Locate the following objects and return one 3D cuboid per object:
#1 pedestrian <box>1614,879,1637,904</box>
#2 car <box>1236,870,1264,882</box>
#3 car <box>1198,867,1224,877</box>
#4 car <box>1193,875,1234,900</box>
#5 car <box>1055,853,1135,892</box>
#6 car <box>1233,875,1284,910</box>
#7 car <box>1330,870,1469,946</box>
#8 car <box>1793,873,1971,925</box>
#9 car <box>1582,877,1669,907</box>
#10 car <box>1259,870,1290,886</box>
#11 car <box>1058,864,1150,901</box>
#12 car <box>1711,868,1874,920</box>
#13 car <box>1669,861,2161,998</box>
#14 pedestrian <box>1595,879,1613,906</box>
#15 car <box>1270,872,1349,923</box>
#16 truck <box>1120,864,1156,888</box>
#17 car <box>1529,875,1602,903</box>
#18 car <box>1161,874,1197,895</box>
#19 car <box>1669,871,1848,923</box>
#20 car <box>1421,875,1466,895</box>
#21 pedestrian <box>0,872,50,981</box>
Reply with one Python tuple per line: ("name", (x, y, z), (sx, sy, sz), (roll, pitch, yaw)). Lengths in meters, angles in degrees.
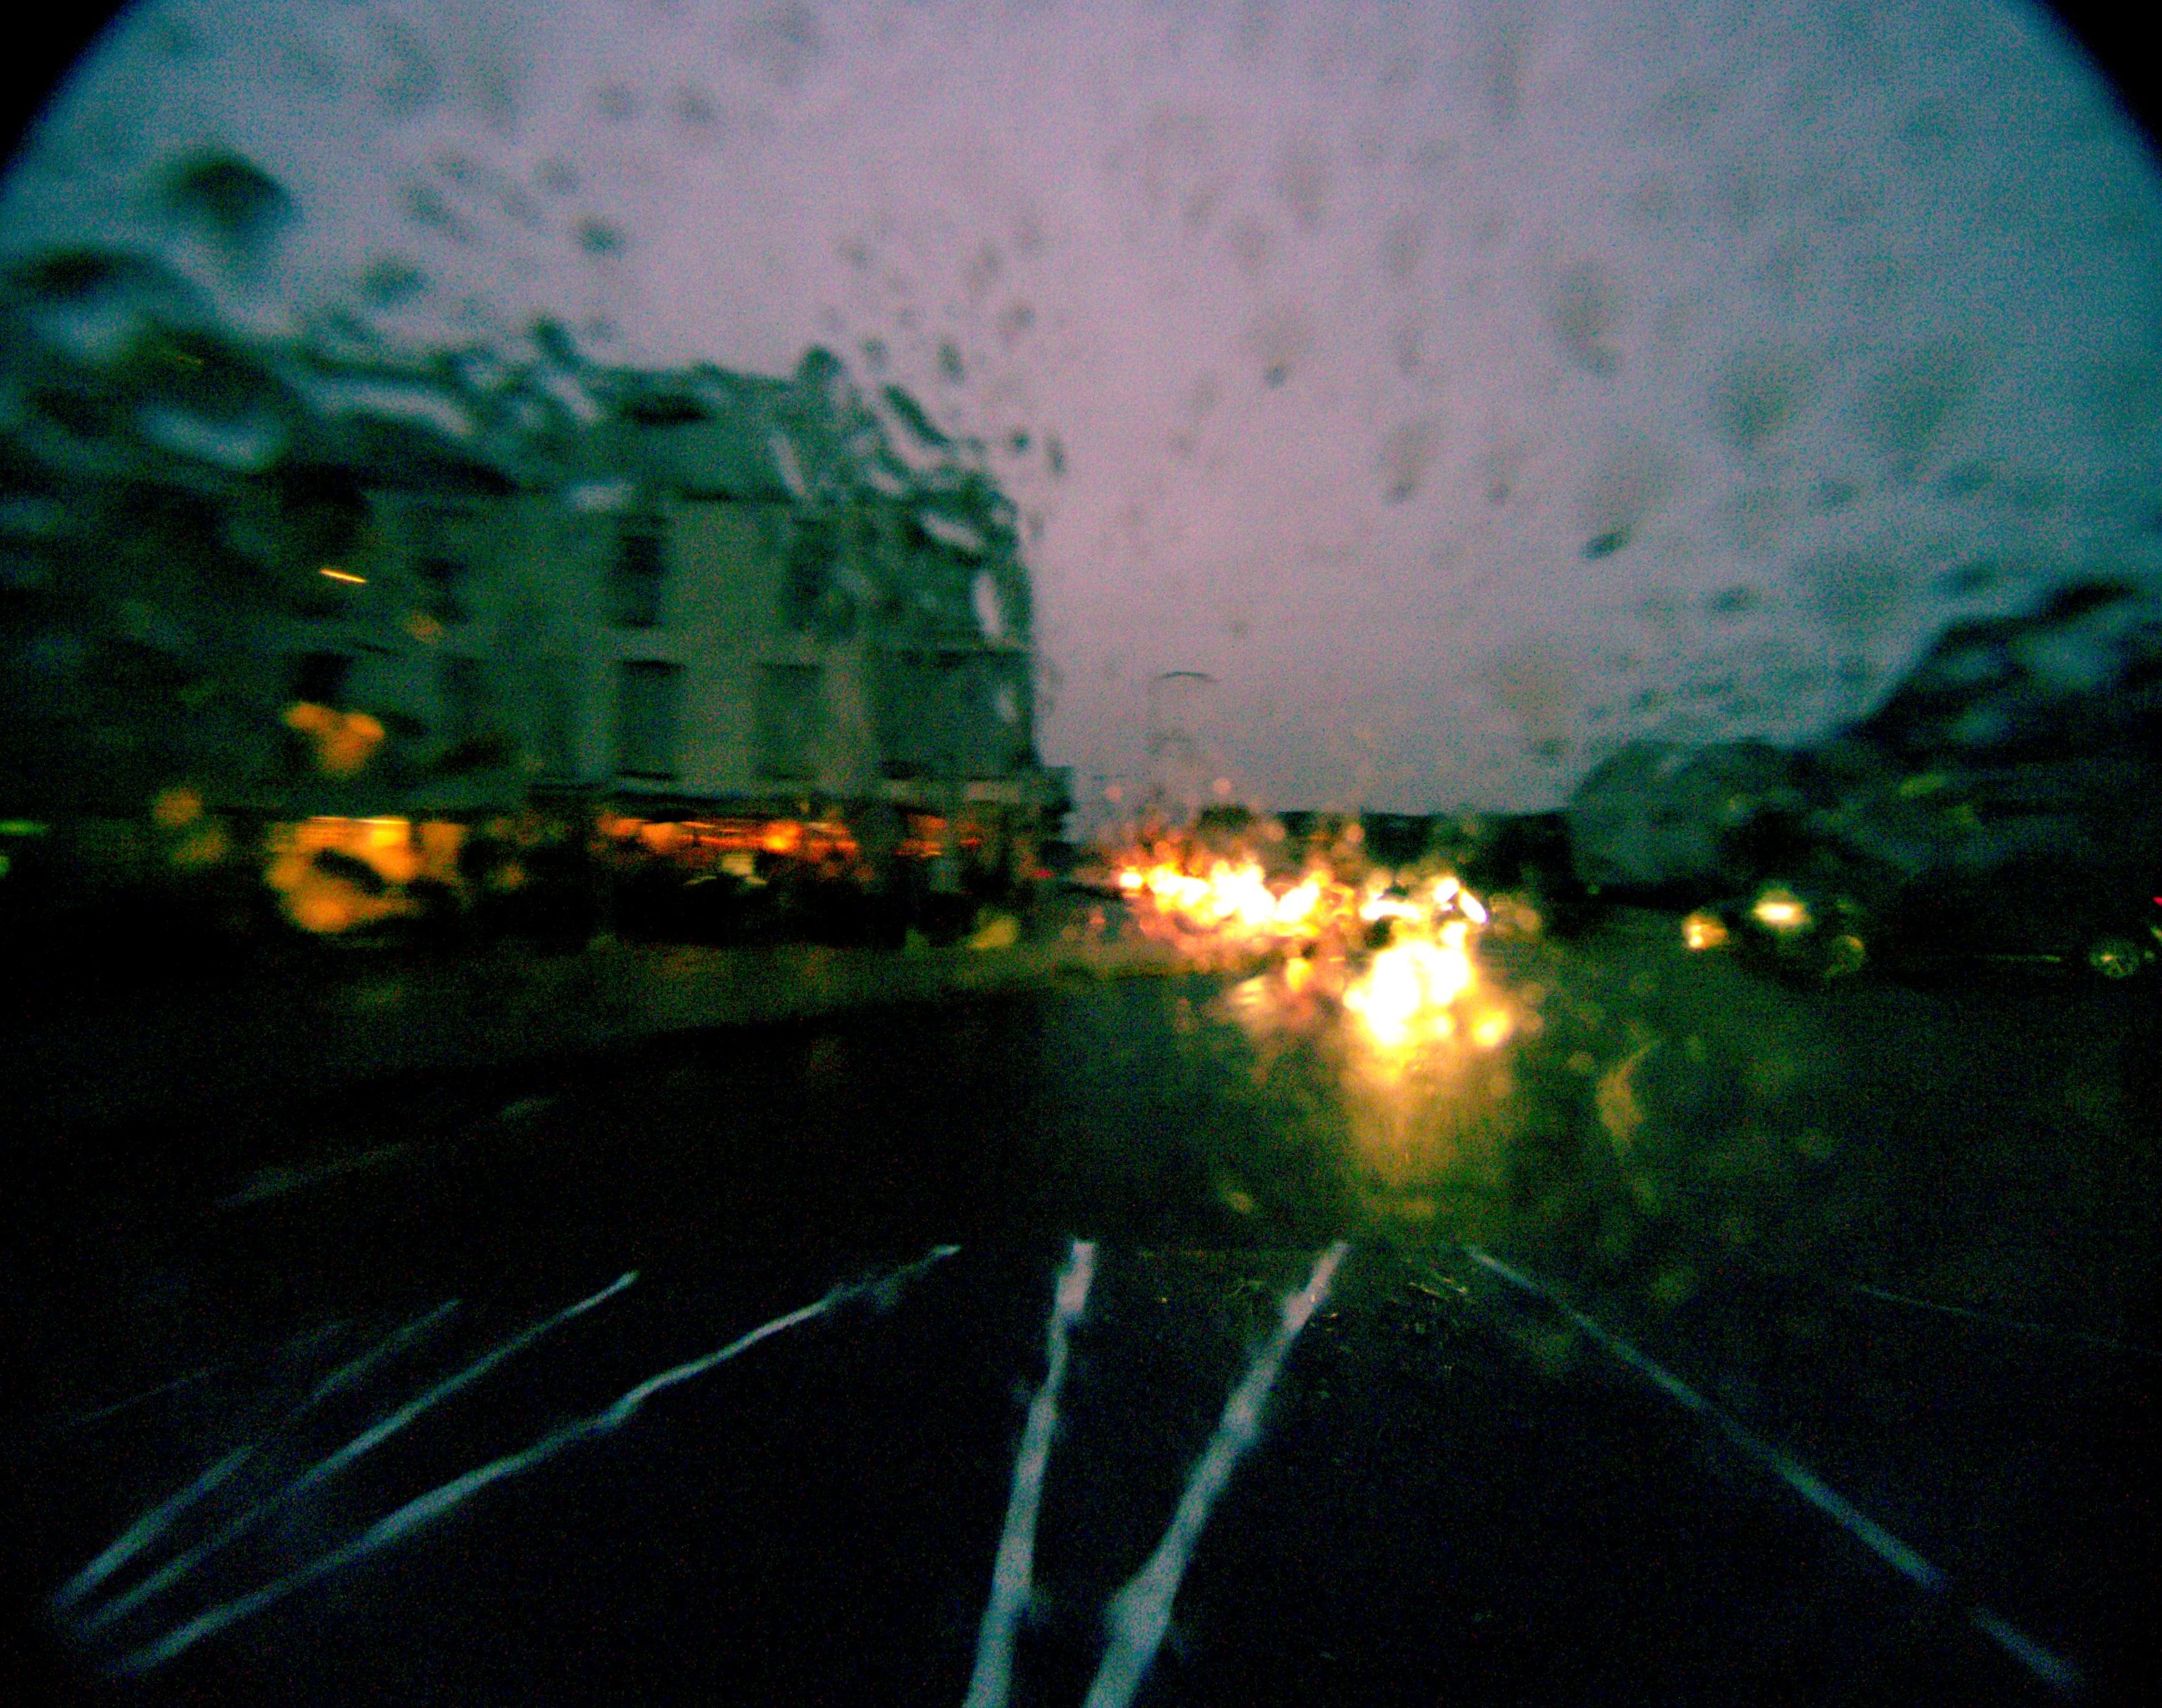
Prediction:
("pedestrian", (27.401, 1.859, 38.258), (0.692, 1.242, 0.603), (0, -1, -4))
("car", (21.611, 2.804, 97.123), (1.677, 1.459, 4.012), (3, -2, -17))
("car", (18.552, 2.584, 108.752), (1.801, 1.460, 4.609), (1, -1, -17))
("car", (8.074, 2.017, 46.574), (1.741, 1.434, 4.000), (-1, -1, -1))
("car", (0.801, 1.134, 45.801), (4.552, 1.922, 1.975), (5, -1, -4))
("car", (8.026, 1.729, 34.625), (1.571, 1.460, 3.618), (-1, -1, 1))
("car", (7.493, 1.201, 18.307), (1.887, 1.569, 4.002), (-2, -1, 4))
("car", (27.889, 1.542, 26.594), (1.768, 1.621, 3.991), (3, -2, -30))
("car", (31.159, 2.128, 43.656), (1.780, 1.560, 4.092), (0, -1, -6))
("car", (23.233, 2.853, 91.422), (1.801, 1.816, 4.253), (1, -1, -13))
("car", (1.048, 1.341, 36.098), (4.001, 1.494, 1.812), (3, -1, -10))
("car", (24.910, 1.369, 26.721), (1.844, 1.660, 3.887), (4, -2, -34))
("car", (11.054, 0.934, 10.169), (4.624, 1.583, 1.956), (-1, -1, 12))
("pedestrian", (25.938, 1.904, 37.697), (0.512, 1.294, 0.601), (1, -1, -37))
("car", (7.852, 1.455, 26.472), (1.681, 1.614, 4.001), (0, -1, 2))
("truck", (5.354, 2.063, 72.706), (2.249, 2.217, 6.101), (0, -1, -7))
("car", (30.620, 2.154, 48.178), (1.704, 1.650, 3.957), (0, -1, -9))
("car", (7.340, 2.264, 57.181), (1.834, 1.535, 3.714), (-1, -1, -6))
("car", (22.450, 1.342, 25.311), (1.918, 1.522, 4.169), (1, -1, -38))
("car", (29.111, 2.496, 61.067), (1.479, 1.499, 3.501), (1, -1, -10))
("pedestrian", (-14.670, 0.972, 10.371), (0.452, 1.446, 0.552), (0, 0, -13))
